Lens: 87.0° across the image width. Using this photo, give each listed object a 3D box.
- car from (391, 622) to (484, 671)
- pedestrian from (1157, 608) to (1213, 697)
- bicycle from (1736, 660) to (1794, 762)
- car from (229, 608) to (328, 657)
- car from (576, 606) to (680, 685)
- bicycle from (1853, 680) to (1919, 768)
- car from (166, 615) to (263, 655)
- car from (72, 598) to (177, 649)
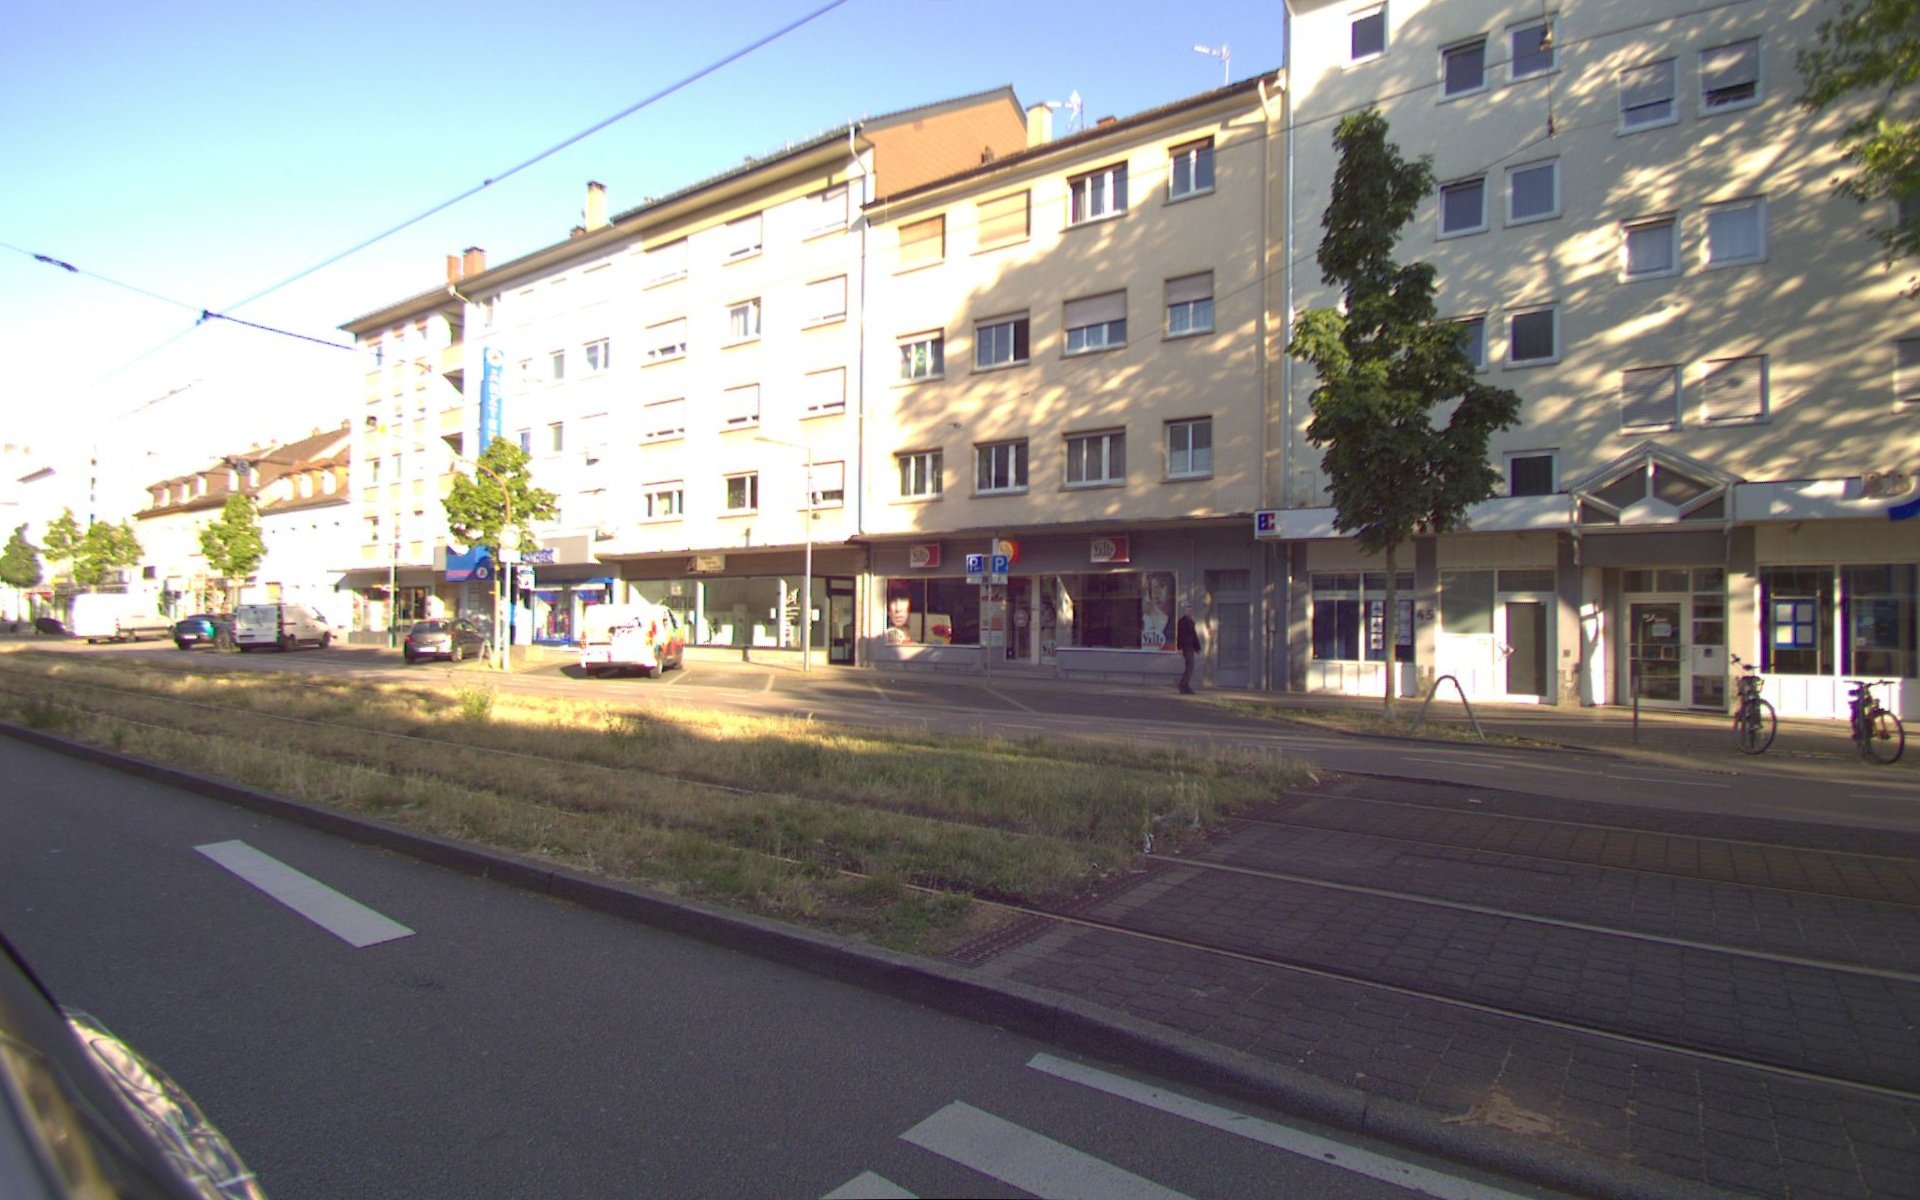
[{"bbox_3d":[-17.615,1.526,34.337,1.708,1.508,4.009,0,0,-10],"label":"car"},{"bbox_3d":[4.795,1.102,21.556,0.916,1.841,0.747,-1,-1,41],"label":"pedestrian"},{"bbox_3d":[10.299,1.381,12.980,0.511,1.147,1.724,-1,-1,36],"label":"bicycle"},{"bbox_3d":[-28.655,1.301,42.740,1.828,1.952,4.514,0,0,-10],"label":"car"},{"bbox_3d":[-8.798,1.146,27.133,1.830,1.913,4.005,0,0,-6],"label":"car"},{"bbox_3d":[11.334,1.483,12.359,0.471,0.895,1.724,-1,-1,36],"label":"bicycle"},{"bbox_3d":[-34.174,1.553,46.524,1.830,1.727,3.919,0,0,-5],"label":"car"},{"bbox_3d":[-45.351,1.212,55.132,1.895,2.634,6.608,0,0,-16],"label":"car"}]
